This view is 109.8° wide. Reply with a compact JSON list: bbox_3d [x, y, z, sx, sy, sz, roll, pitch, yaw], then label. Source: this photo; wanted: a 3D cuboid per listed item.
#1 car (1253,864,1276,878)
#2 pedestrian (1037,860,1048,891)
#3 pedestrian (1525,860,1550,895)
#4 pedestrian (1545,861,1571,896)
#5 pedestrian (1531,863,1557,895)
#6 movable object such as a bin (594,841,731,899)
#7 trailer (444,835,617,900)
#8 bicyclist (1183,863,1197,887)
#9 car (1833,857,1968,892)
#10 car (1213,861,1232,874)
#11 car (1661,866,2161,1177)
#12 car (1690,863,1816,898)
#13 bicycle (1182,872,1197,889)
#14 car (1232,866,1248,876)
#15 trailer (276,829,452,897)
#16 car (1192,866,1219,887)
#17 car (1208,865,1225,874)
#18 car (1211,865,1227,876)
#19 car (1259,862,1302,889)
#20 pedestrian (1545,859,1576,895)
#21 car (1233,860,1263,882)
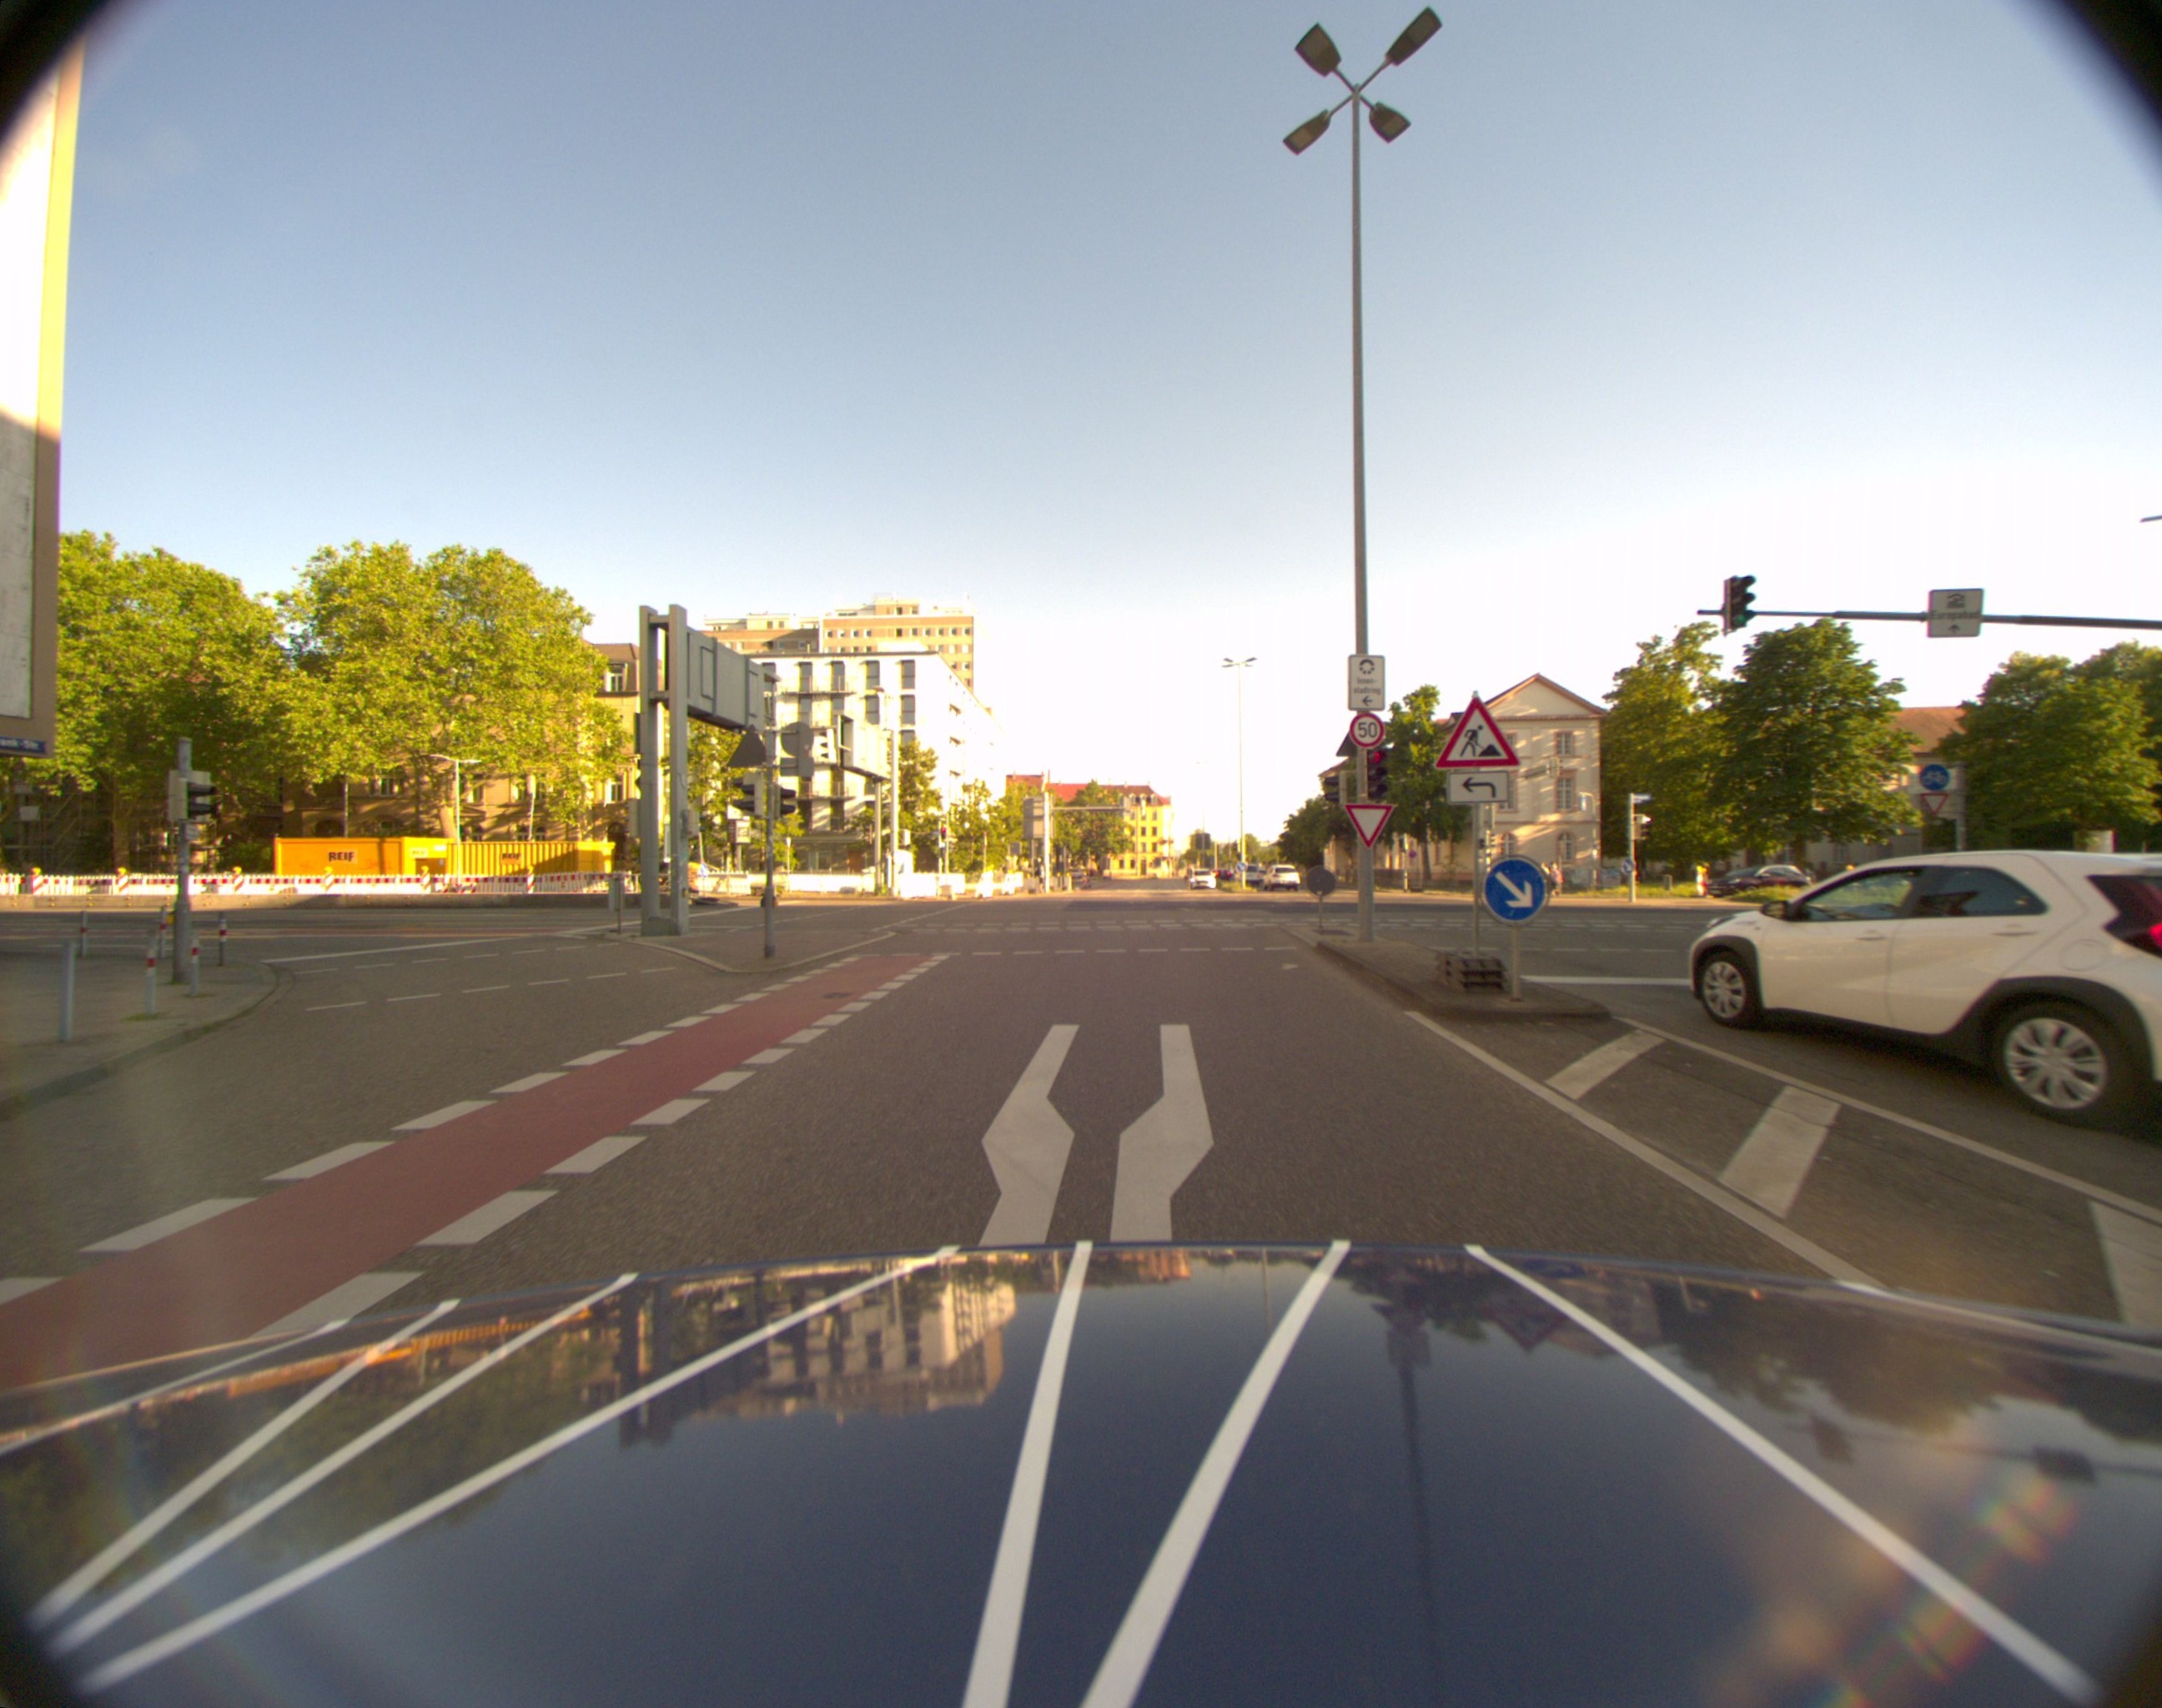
[{"bbox_3d":[19.811,1.794,82.155,1.764,1.454,4.295,0,-1,5],"label":"car"},{"bbox_3d":[-2.399,1.335,46.922,0.500,1.866,0.601,0,0,-22],"label":"pedestrian"},{"bbox_3d":[21.965,1.131,36.589,0.621,1.641,0.890,0,0,-2],"label":"pedestrian"},{"bbox_3d":[23.095,1.187,36.818,0.678,1.641,0.883,0,0,-2],"label":"pedestrian"},{"bbox_3d":[24.262,1.300,39.860,0.678,1.698,1.084,0,0,-2],"label":"pedestrian"},{"bbox_3d":[-19.007,0.737,34.626,5.209,2.578,2.001,0,-1,5],"label":"movable object such as a bin"},{"bbox_3d":[-25.095,0.607,34.835,6.125,2.850,2.542,0,-1,1],"label":"trailer"},{"bbox_3d":[7.246,1.408,50.561,0.838,1.594,1.024,0,-1,5],"label":"bicyclist"},{"bbox_3d":[35.696,0.892,33.174,3.643,1.437,2.001,0,-1,2],"label":"car"},{"bbox_3d":[16.786,1.623,90.434,1.764,1.454,4.295,0,-1,5],"label":"car"},{"bbox_3d":[6.161,0.810,5.113,1.831,1.452,3.905,0,-1,6],"label":"car"},{"bbox_3d":[29.112,1.138,33.024,3.643,1.437,2.001,0,-1,2],"label":"car"},{"bbox_3d":[7.229,1.741,50.586,0.833,1.101,2.082,0,-1,5],"label":"bicycle"},{"bbox_3d":[22.352,2.365,106.879,1.764,1.454,4.295,0,-1,5],"label":"car"},{"bbox_3d":[-32.999,0.449,35.098,6.123,2.997,2.408,0,-1,4],"label":"trailer"},{"bbox_3d":[8.985,1.631,55.137,1.763,1.489,3.710,0,-1,7],"label":"car"},{"bbox_3d":[20.600,2.347,115.567,2.047,1.454,4.295,0,-1,5],"label":"car"},{"bbox_3d":[18.803,2.292,103.490,1.764,1.454,4.295,0,-1,5],"label":"car"},{"bbox_3d":[12.991,1.396,49.754,1.832,1.696,4.443,0,-1,3],"label":"car"},{"bbox_3d":[25.133,1.200,39.844,0.820,1.838,1.170,0,0,-2],"label":"pedestrian"},{"bbox_3d":[14.644,1.450,66.808,1.831,1.836,4.949,0,-1,4],"label":"car"}]
